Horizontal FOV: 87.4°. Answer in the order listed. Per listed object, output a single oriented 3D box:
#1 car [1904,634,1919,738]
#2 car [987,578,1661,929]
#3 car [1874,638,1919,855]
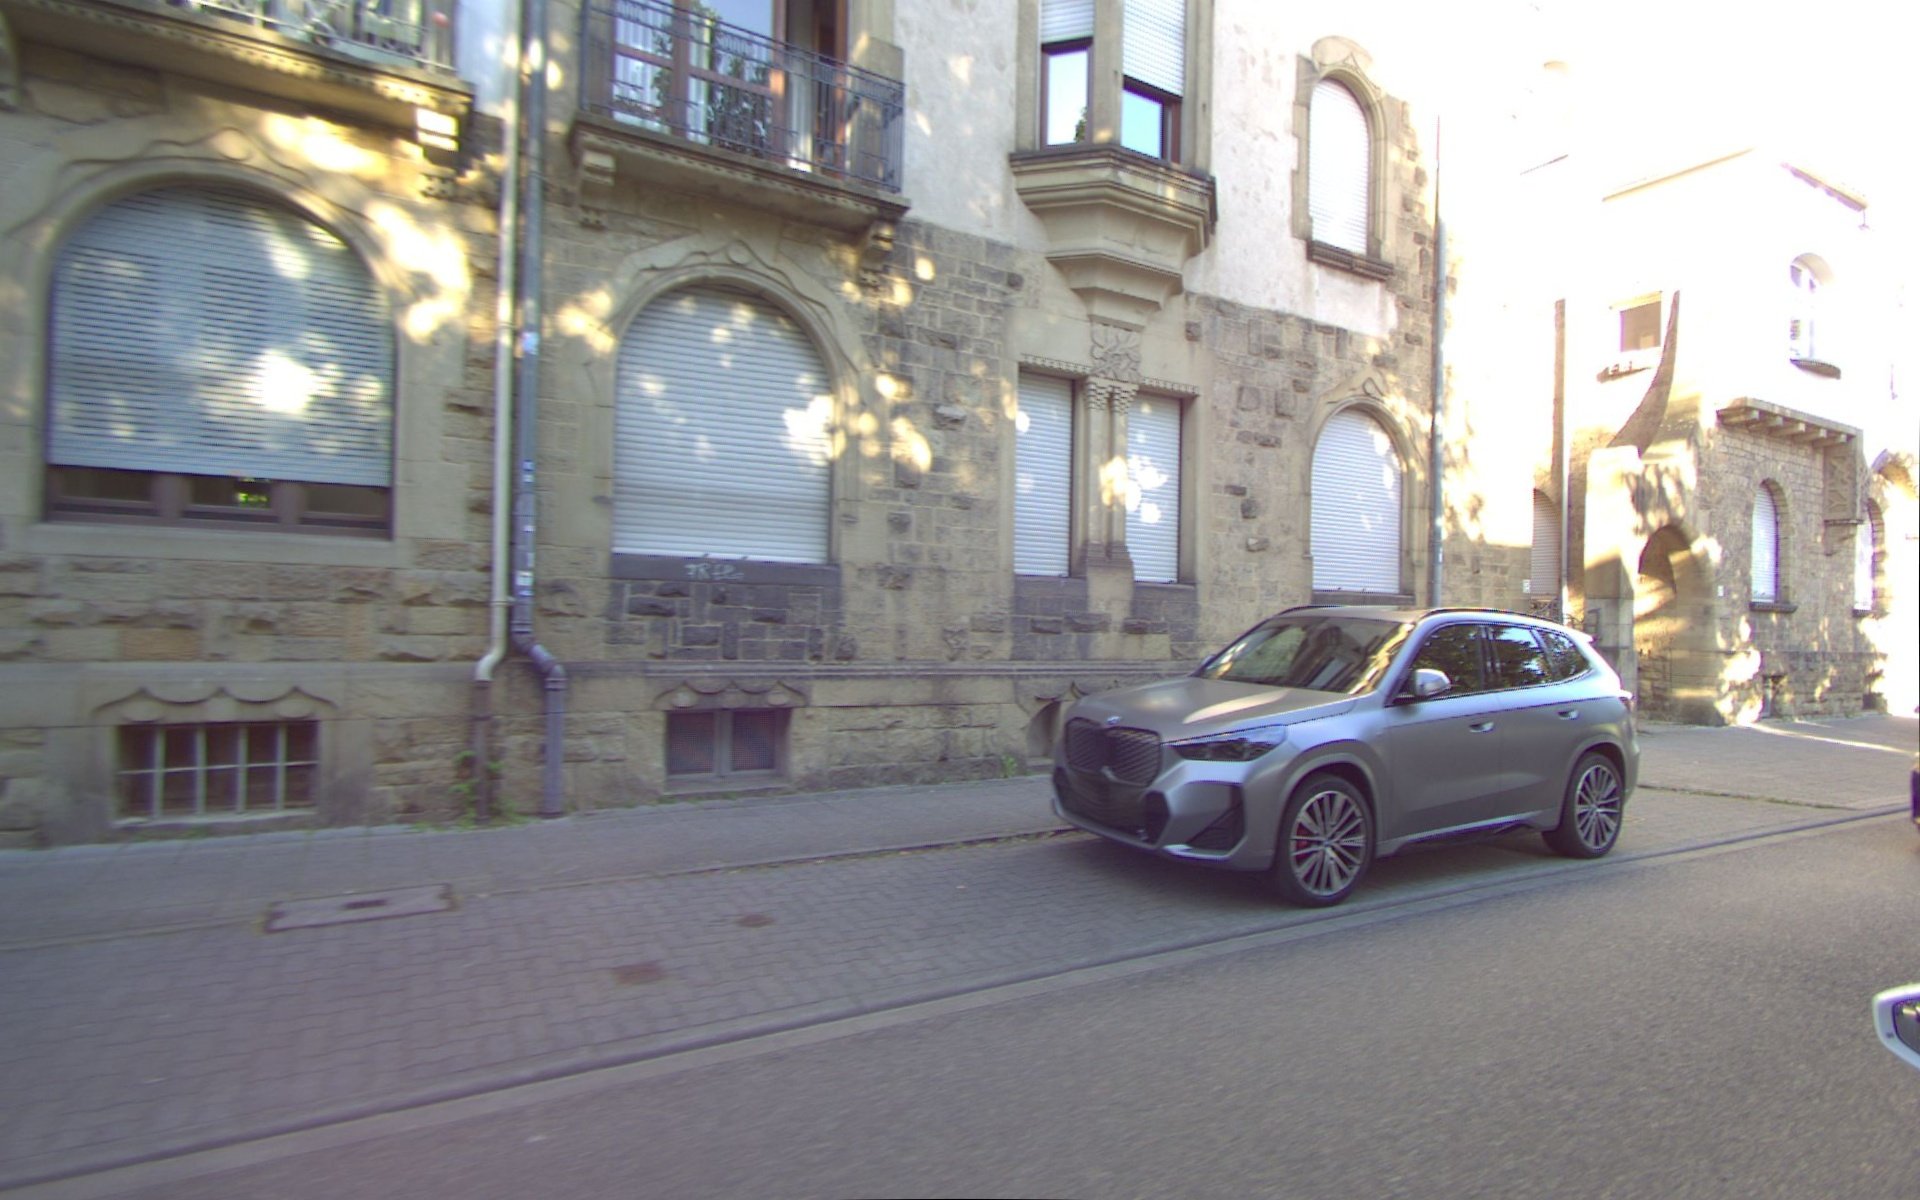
[{"bbox_3d":[16.298,1.396,15.242,4.067,1.537,1.746,3,2,-31],"label":"car"},{"bbox_3d":[2.557,0.833,6.759,4.348,1.643,2.038,3,-2,-32],"label":"car"},{"bbox_3d":[8.901,1.099,7.478,4.331,1.505,1.888,3,-4,-30],"label":"car"}]
